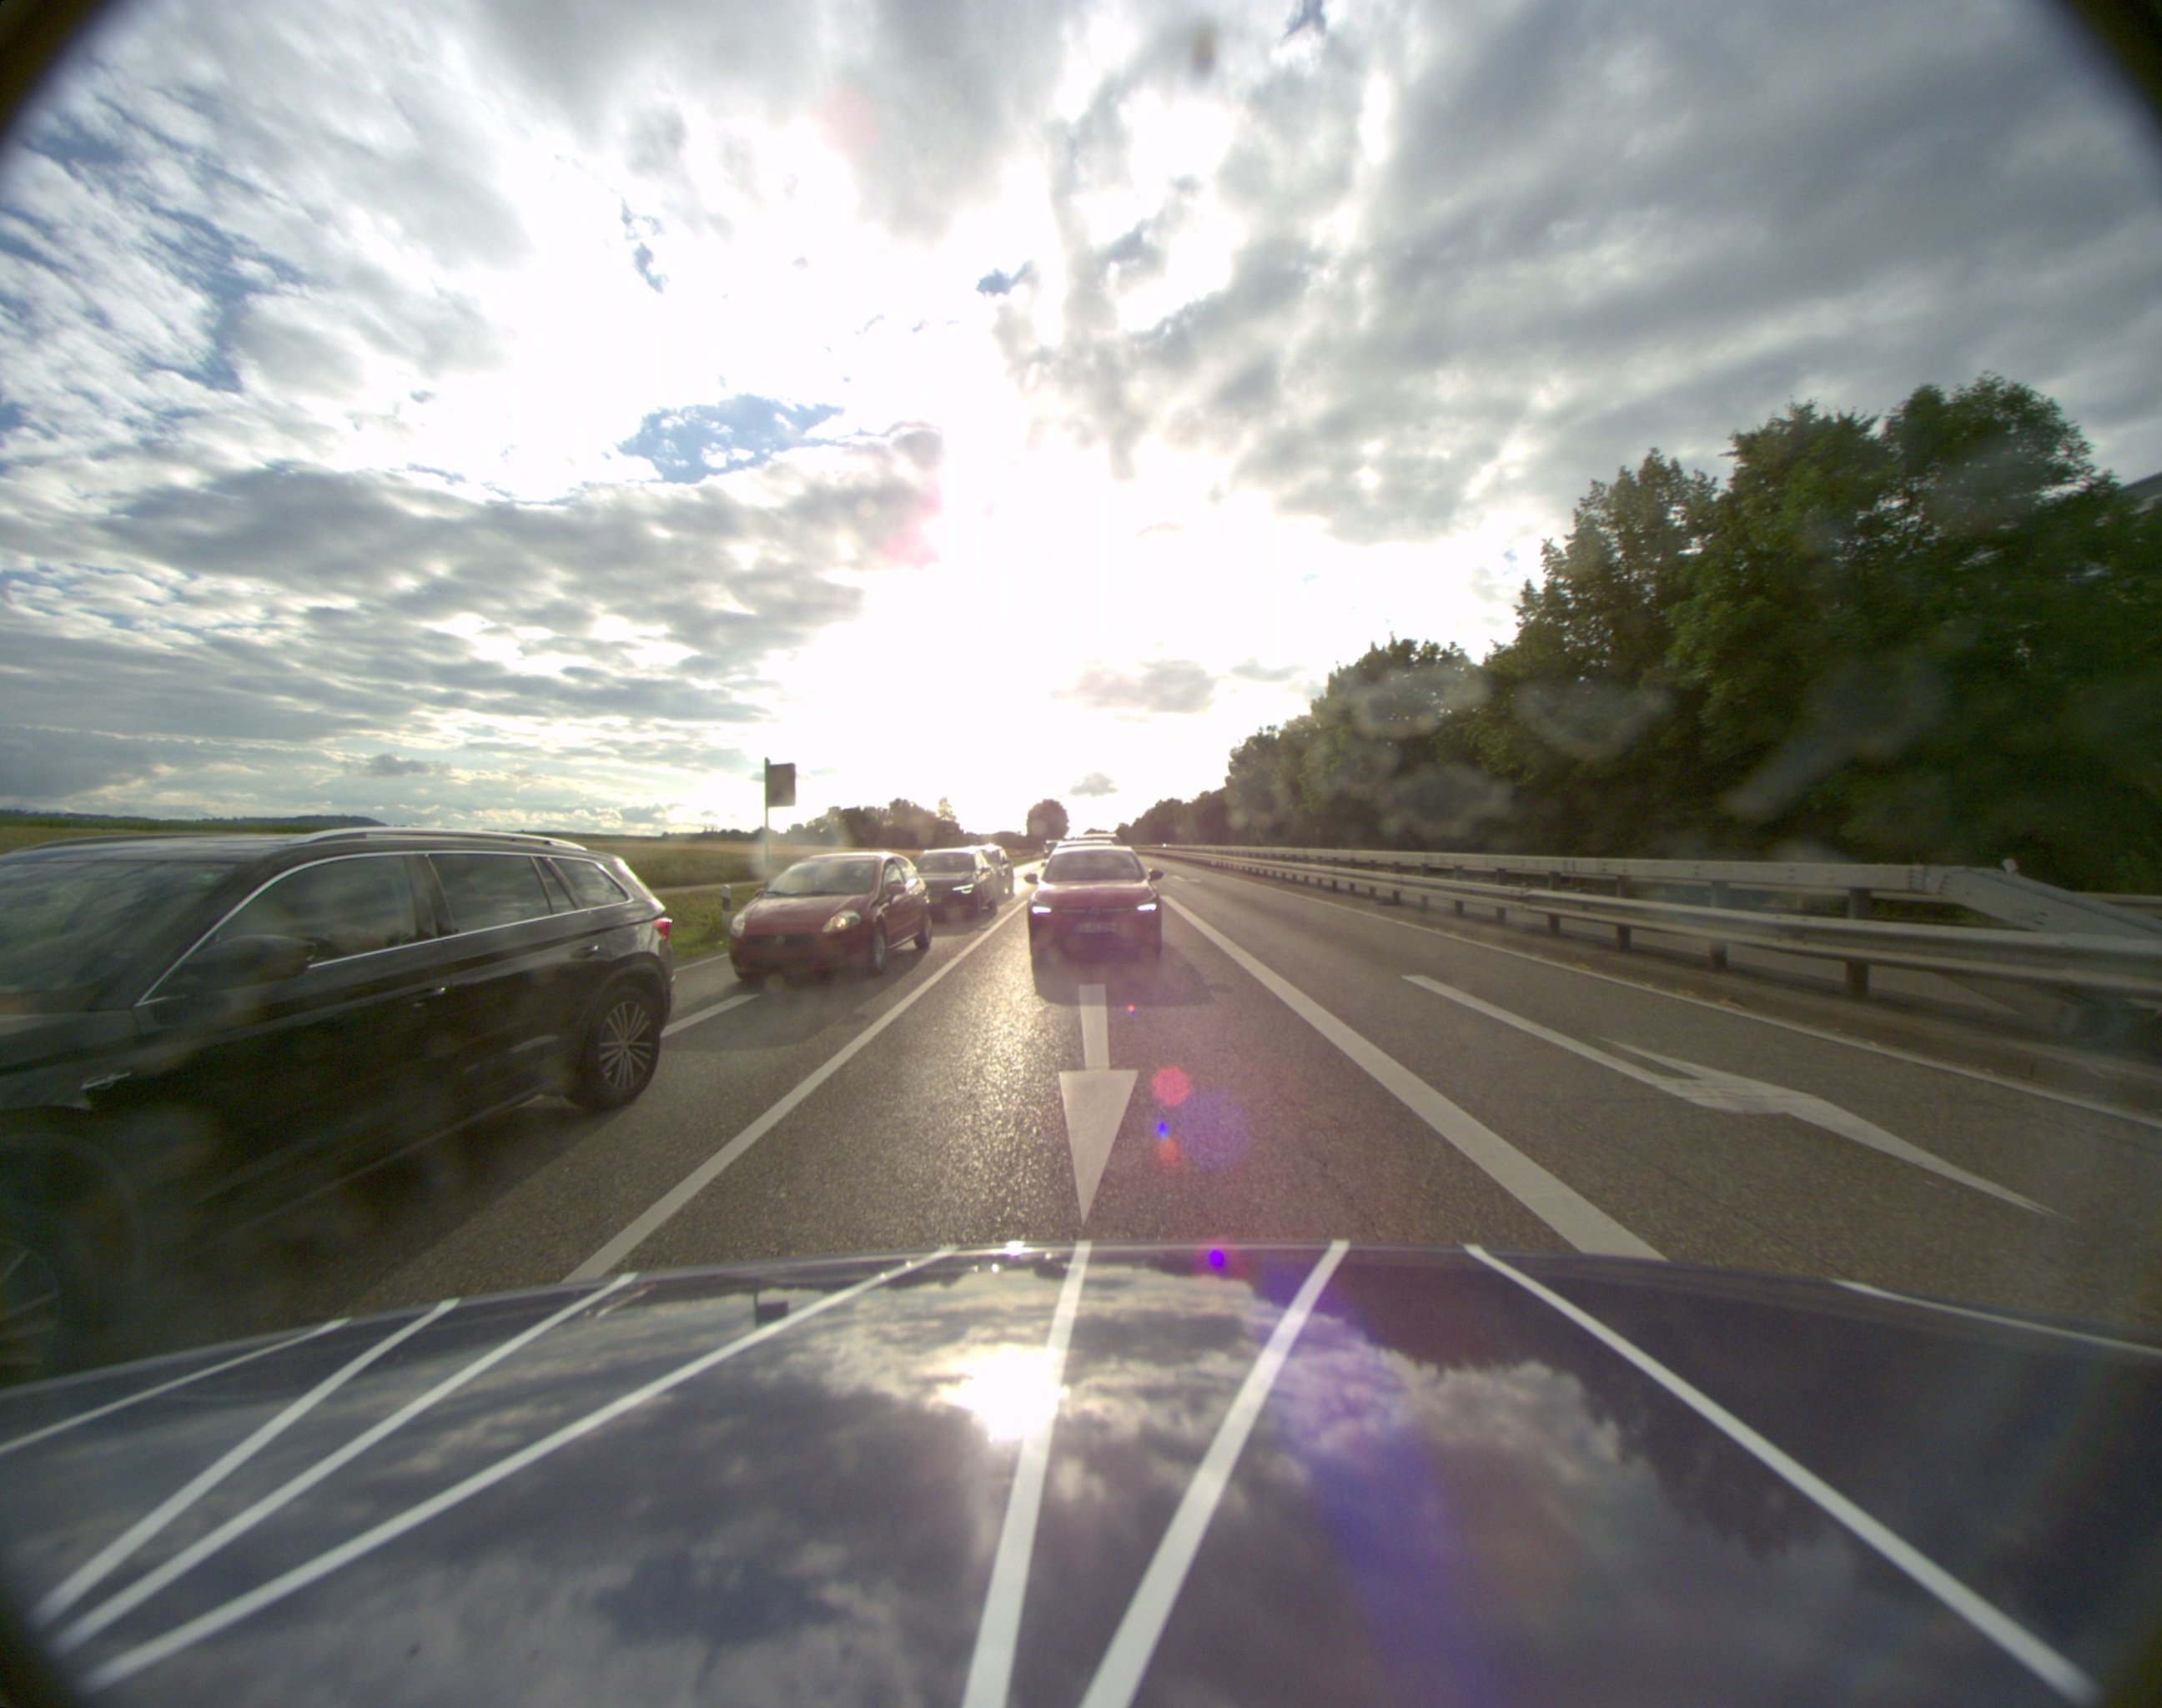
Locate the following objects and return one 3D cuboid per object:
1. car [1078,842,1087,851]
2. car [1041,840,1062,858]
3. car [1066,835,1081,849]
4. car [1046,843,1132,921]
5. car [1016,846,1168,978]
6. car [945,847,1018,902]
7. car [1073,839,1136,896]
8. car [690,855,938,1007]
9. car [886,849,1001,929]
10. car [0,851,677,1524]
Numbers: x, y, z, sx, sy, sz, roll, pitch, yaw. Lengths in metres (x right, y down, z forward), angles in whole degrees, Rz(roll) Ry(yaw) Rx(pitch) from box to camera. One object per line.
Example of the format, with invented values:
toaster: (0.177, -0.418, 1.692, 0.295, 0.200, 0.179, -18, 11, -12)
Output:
car: (0.365, -1.862, 183.124, 1.999, 2.002, 3.998, -2, 2, 0)
car: (-2.930, -0.547, 76.636, 1.949, 1.652, 3.999, -1, 1, 0)
car: (-0.974, -1.624, 101.683, 1.998, 1.740, 3.999, 0, 2, 1)
car: (0.178, 0.549, 17.538, 1.758, 1.543, 3.999, -1, 2, 0)
car: (0.197, 0.669, 10.760, 1.723, 1.467, 3.728, -2, 1, 2)
car: (-2.936, 0.561, 23.073, 1.631, 1.467, 3.474, -2, 1, 1)
car: (0.769, 0.364, 24.323, 1.786, 1.624, 3.865, -2, 1, 2)
car: (-3.148, 0.813, 9.848, 1.668, 1.467, 3.865, -2, 1, 2)
car: (-2.887, 0.677, 16.779, 1.723, 1.467, 3.865, -2, 1, 1)
car: (-3.600, 0.876, 2.821, 1.723, 1.658, 4.418, -2, 1, 1)
